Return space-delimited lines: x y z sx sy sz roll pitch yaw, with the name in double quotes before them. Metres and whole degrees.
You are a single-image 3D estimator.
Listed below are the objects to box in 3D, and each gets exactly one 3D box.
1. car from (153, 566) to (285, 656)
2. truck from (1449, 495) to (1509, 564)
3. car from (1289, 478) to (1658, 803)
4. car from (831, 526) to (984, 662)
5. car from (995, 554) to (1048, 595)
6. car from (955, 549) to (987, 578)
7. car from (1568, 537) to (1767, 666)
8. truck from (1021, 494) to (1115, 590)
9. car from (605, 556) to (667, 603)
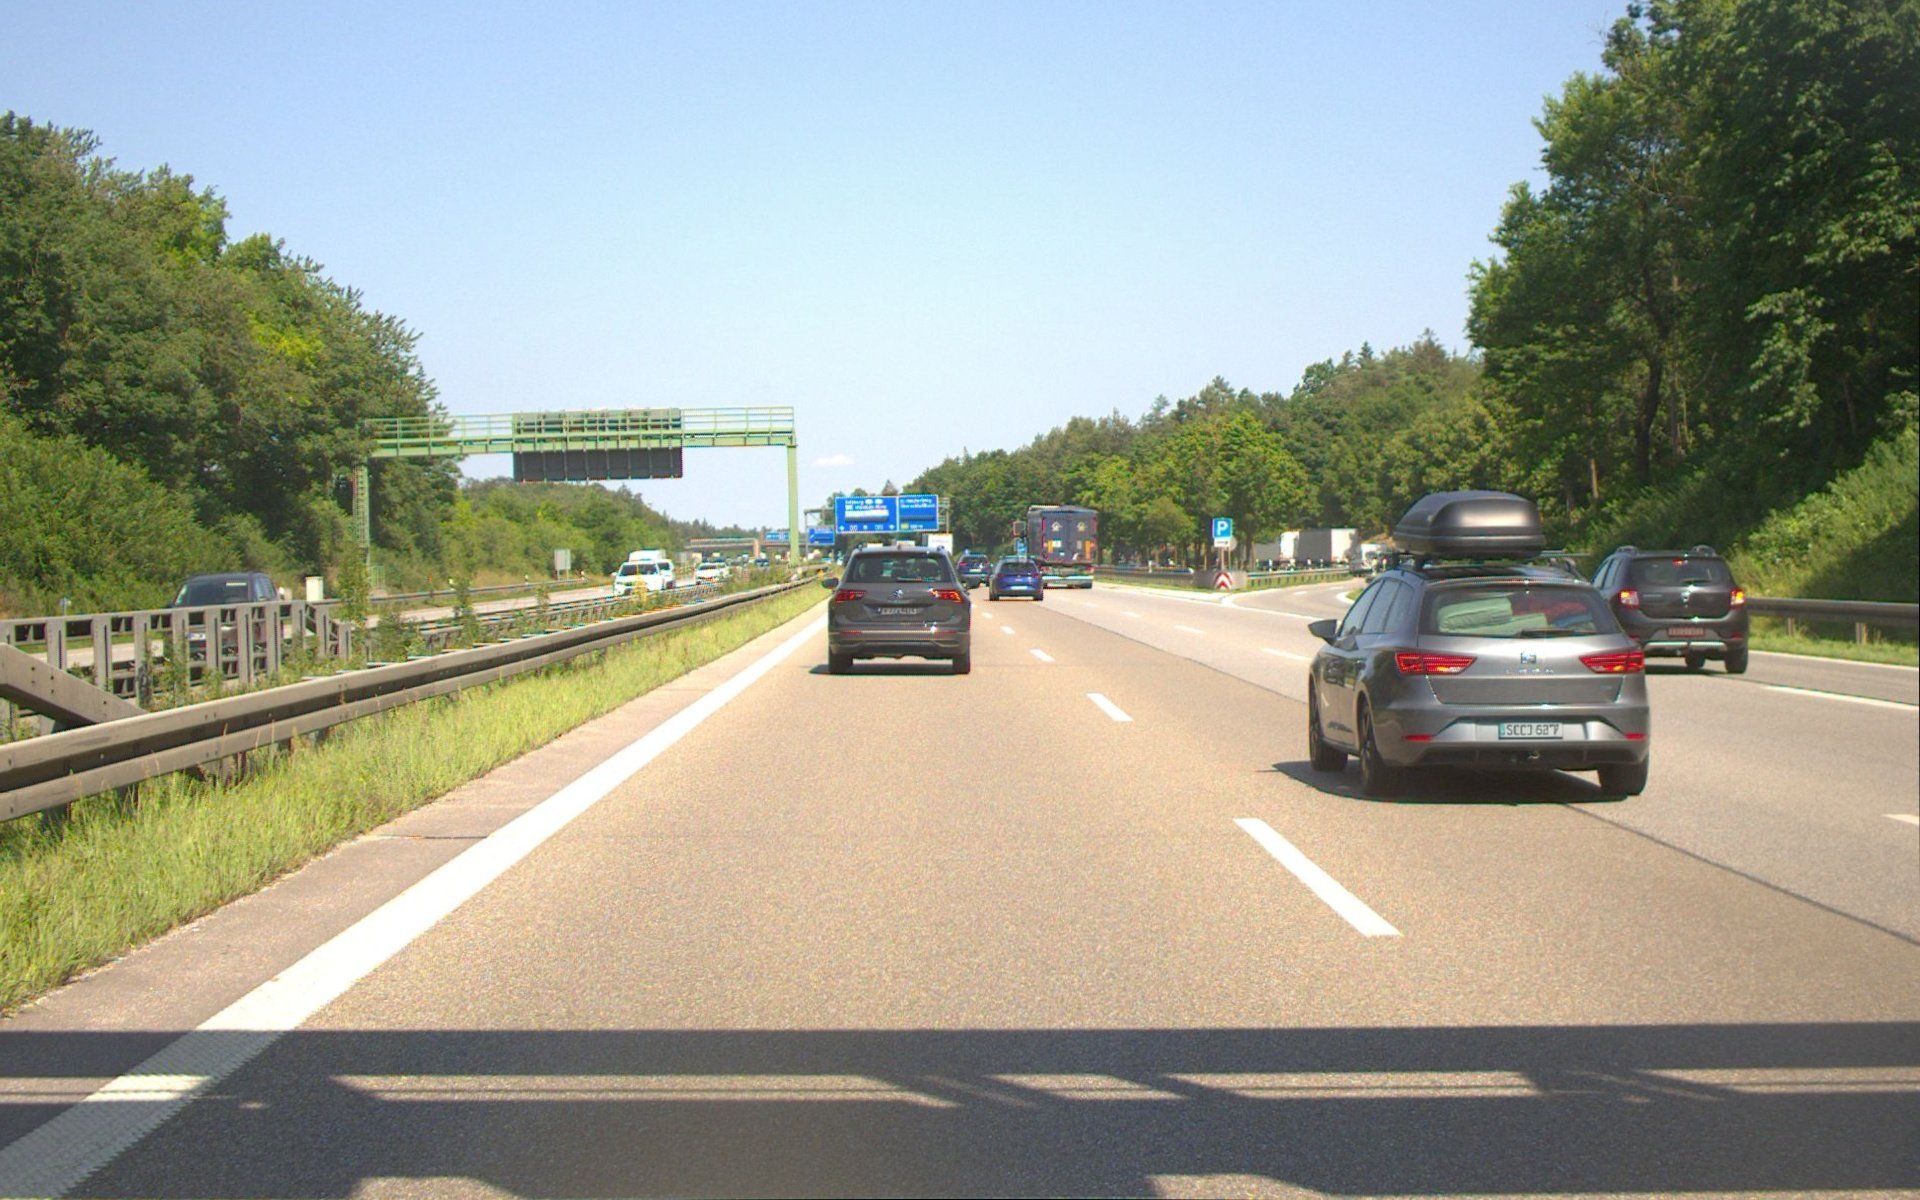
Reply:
"car" -14.372 0.188 66.855 1.657 1.611 3.914 -3 1 0
"truck" 30.596 -4.137 202.426 3.286 3.933 9.347 -1 1 10
"car" 3.250 0.195 22.631 1.665 1.870 4.827 -2 1 0
"car" -0.635 -0.112 44.639 1.799 1.663 4.258 1 1 1
"car" 2.123 -0.888 118.071 1.765 1.377 4.258 1 1 1
"car" 0.550 -1.839 174.138 1.471 1.393 3.410 2 1 -1
"car" 9.059 -0.021 44.318 1.765 1.563 4.258 1 1 1
"truck" 5.125 -2.777 166.343 3.780 4.407 14.052 0 1 -1
"car" -11.751 -0.754 125.013 1.812 1.611 3.914 -3 1 0
